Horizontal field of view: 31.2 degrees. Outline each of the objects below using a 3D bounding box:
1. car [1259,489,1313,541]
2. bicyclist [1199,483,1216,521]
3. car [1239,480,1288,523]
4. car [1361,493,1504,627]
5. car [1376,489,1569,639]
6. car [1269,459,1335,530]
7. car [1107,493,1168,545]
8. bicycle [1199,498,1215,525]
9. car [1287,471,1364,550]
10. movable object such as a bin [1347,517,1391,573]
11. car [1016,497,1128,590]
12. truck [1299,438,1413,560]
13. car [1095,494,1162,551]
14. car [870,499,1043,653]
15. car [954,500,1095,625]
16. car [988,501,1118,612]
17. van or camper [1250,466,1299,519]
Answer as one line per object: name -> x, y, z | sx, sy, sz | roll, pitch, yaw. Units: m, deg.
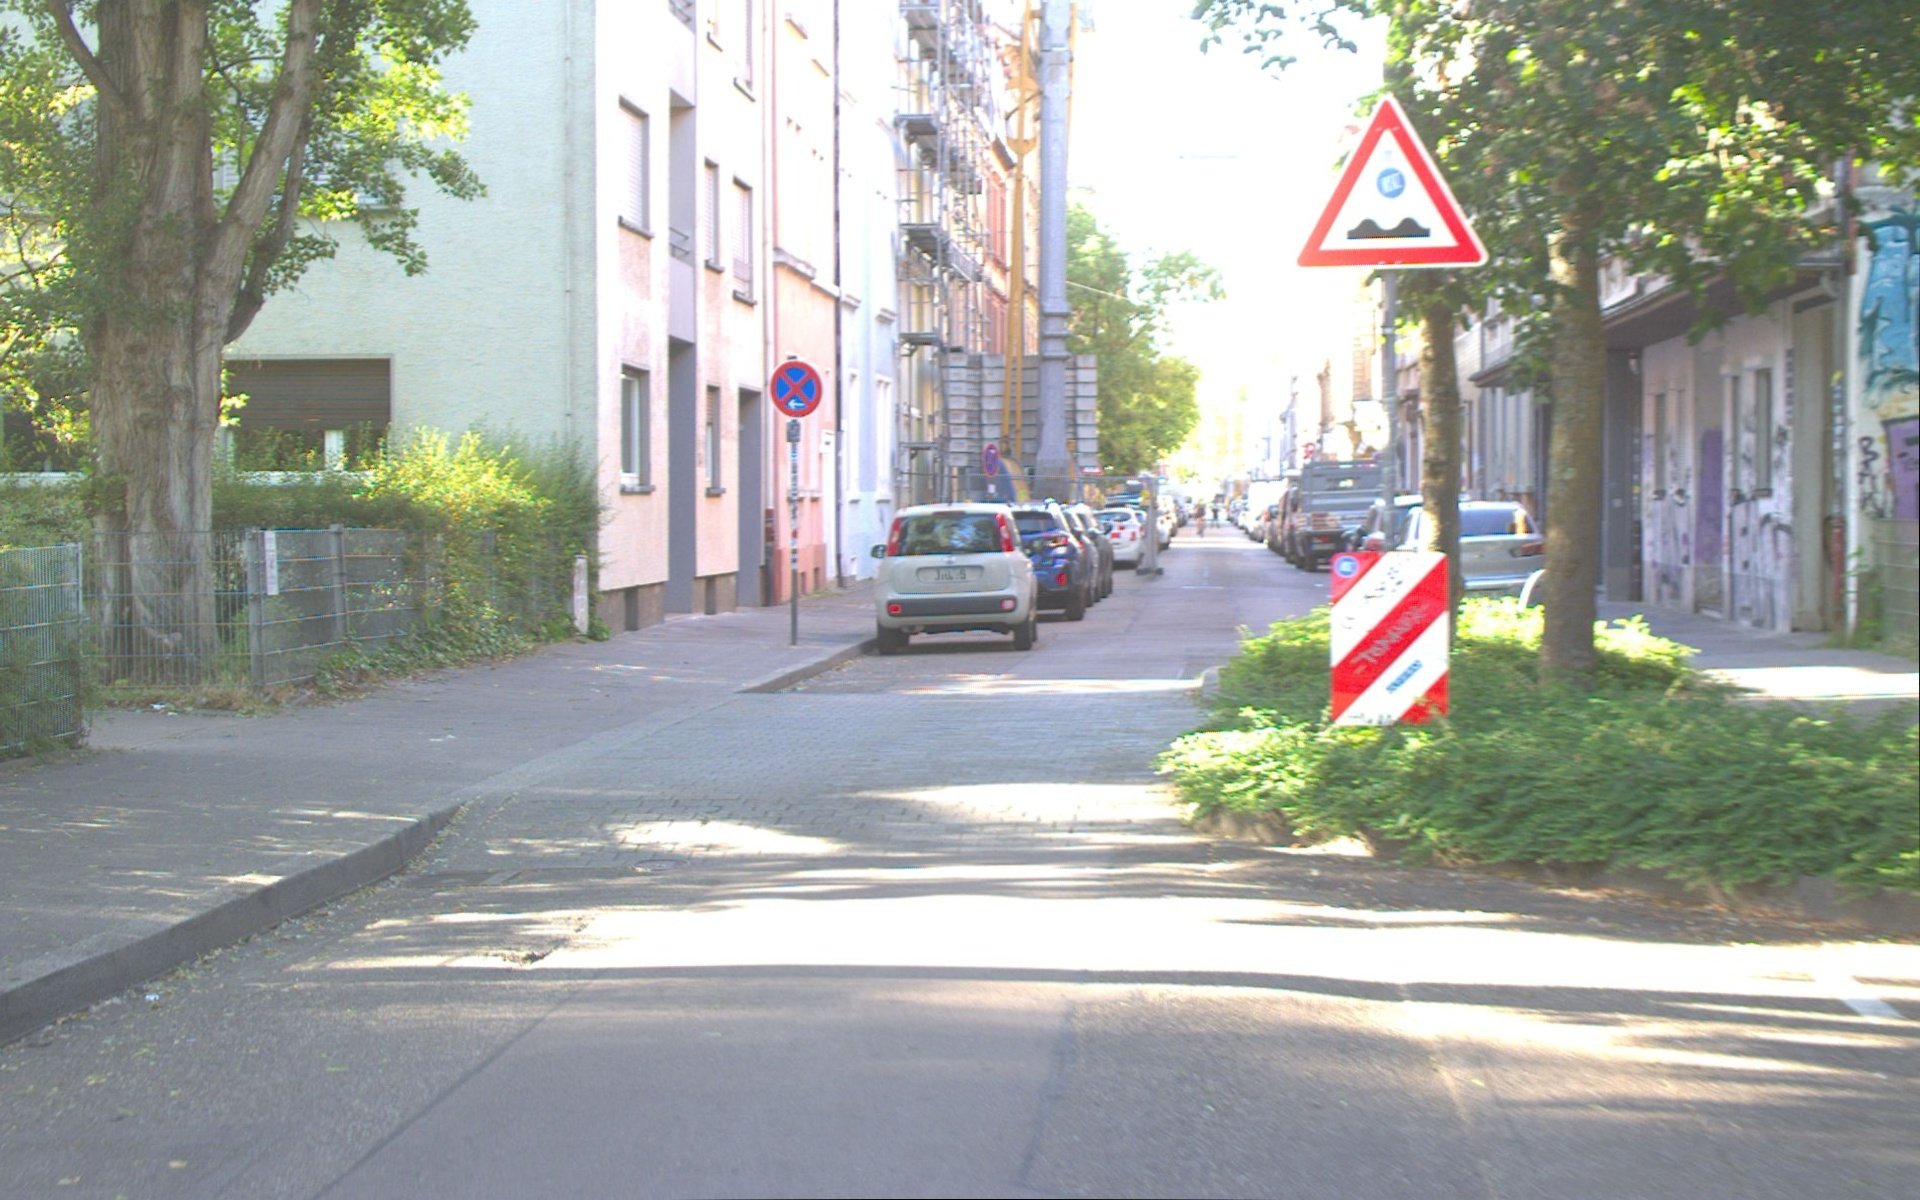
car -> 13.064, -3.426, 138.067 | 1.994, 2.006, 4.000 | 0, 2, 3
bicyclist -> 11.352, -4.496, 157.712 | 0.730, 1.755, 0.835 | 1, 2, 5
car -> 13.467, -4.364, 152.512 | 1.994, 1.842, 4.000 | -1, 2, 3
car -> 6.041, -0.545, 44.266 | 1.640, 1.650, 3.869 | 0, 2, 5
car -> 5.597, -0.432, 37.977 | 1.721, 1.557, 4.398 | 0, 2, 3
car -> 9.930, -3.062, 99.971 | 1.675, 2.024, 3.869 | -1, 2, 2
car -> 5.075, -2.325, 98.379 | 1.675, 1.440, 3.869 | -1, 2, 2
bicycle -> 11.330, -4.068, 157.594 | 0.724, 1.182, 2.042 | 1, 3, 5
car -> 9.281, -2.275, 87.516 | 1.675, 1.956, 4.109 | -1, 2, 2
movable object such as a bin -> 7.719, -1.040, 64.833 | 0.795, 1.052, 0.660 | 0, 2, 5
car -> 1.910, -0.971, 57.373 | 1.675, 1.472, 4.607 | 0, 2, 4
truck -> 8.832, -2.269, 77.011 | 2.190, 2.598, 5.234 | -1, 2, 3
car -> 4.377, -2.037, 89.595 | 1.675, 1.440, 3.869 | -1, 2, 2
car -> 0.007, -0.296, 36.816 | 1.675, 1.534, 3.869 | -1, 2, 2
car -> 0.897, -0.535, 45.598 | 1.729, 1.534, 4.378 | -2, 1, 2
car -> 1.410, -0.677, 50.520 | 1.675, 1.506, 4.414 | -2, 2, 4
van or camper -> 15.192, -5.203, 166.278 | 1.993, 2.499, 4.203 | -1, 2, 0
